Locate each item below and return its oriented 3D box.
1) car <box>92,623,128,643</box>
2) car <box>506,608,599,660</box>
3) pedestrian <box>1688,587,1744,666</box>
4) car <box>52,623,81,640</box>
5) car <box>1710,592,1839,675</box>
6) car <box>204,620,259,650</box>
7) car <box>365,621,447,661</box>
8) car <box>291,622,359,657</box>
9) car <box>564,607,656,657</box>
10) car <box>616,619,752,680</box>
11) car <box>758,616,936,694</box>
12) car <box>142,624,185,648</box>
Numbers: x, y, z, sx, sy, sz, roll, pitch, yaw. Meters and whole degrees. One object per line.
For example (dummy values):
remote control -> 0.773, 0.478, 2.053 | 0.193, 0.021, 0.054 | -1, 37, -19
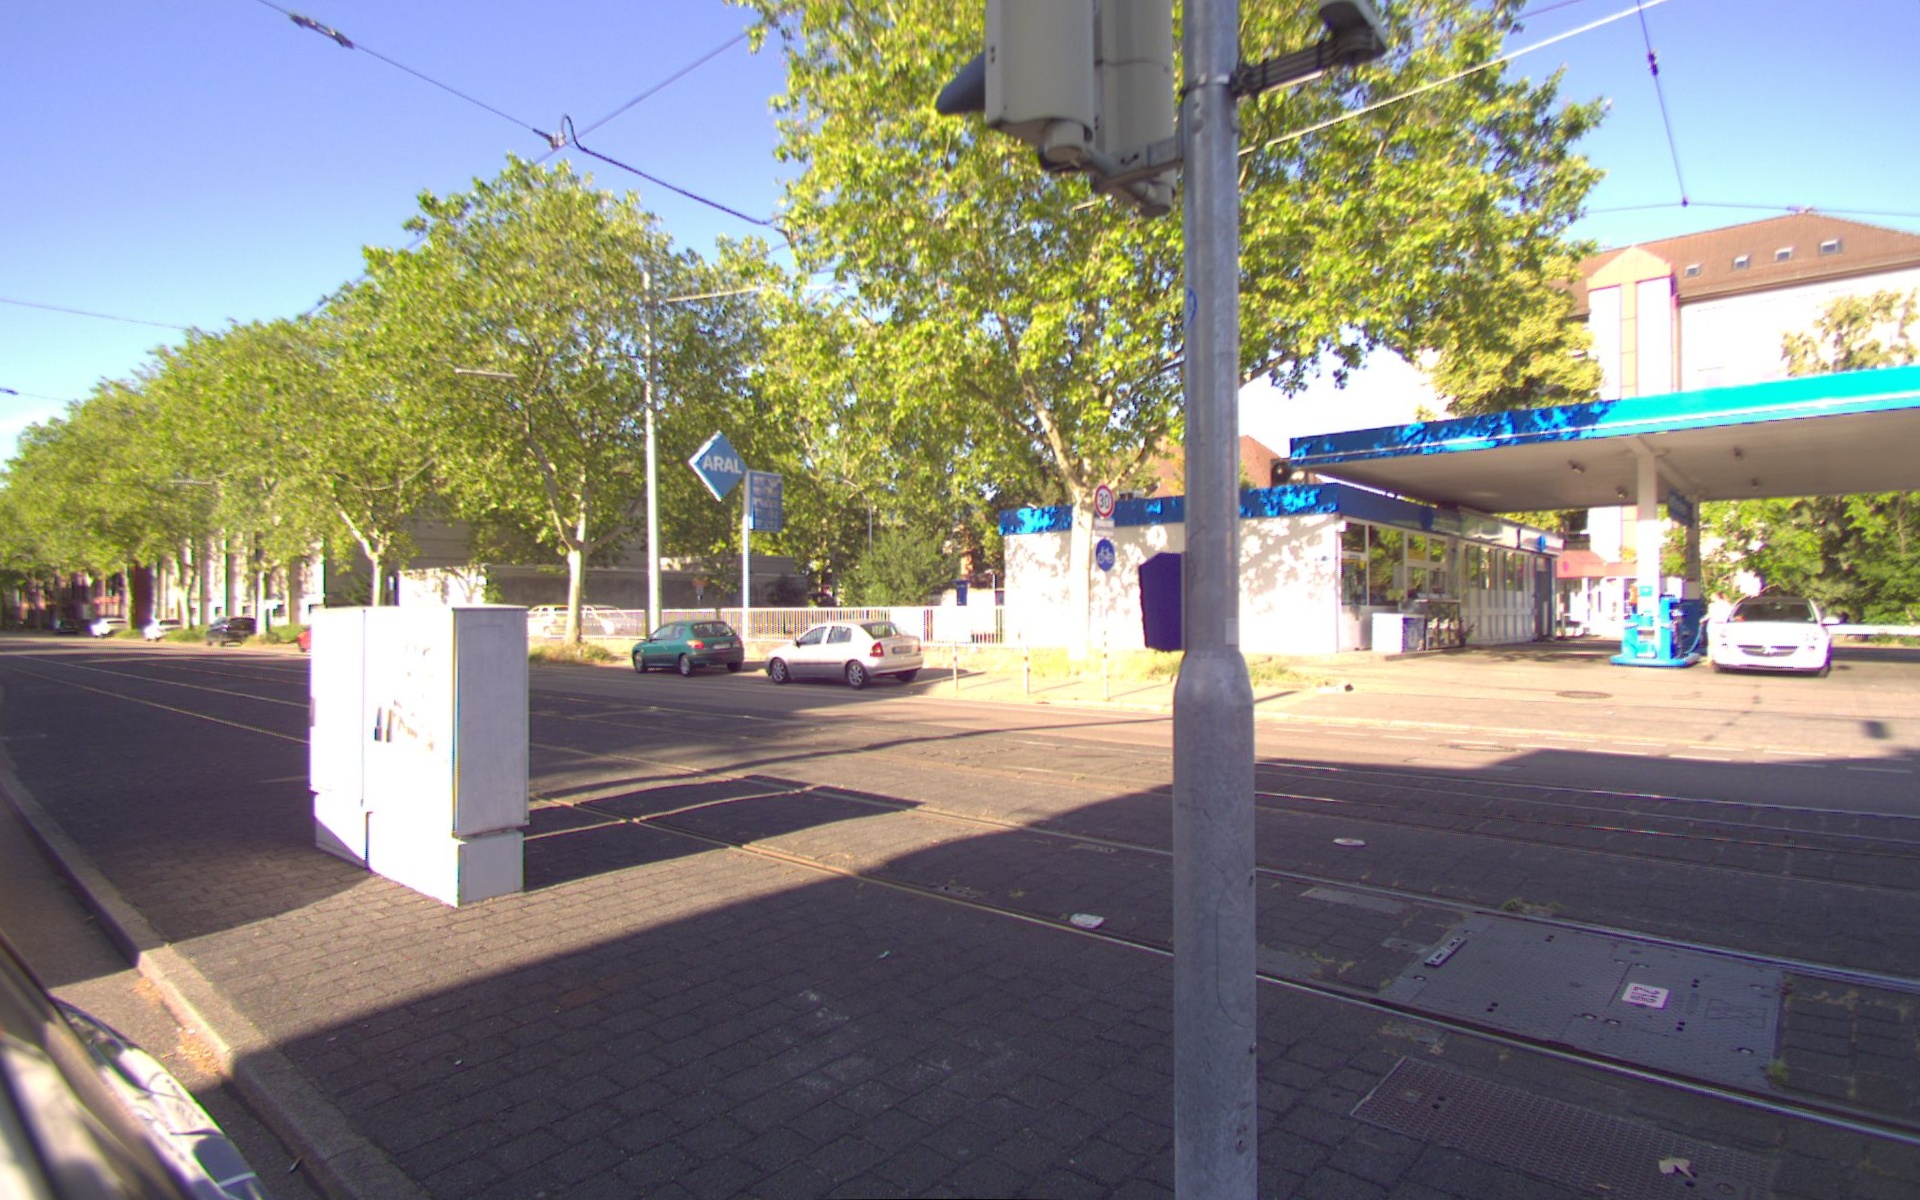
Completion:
car -> -66.923, 2.578, 79.642 | 3.858, 1.495, 1.735 | -1, 0, 43
car -> -17.041, 1.394, 42.264 | 3.996, 2.029, 1.974 | -1, -1, 39
pedestrian -> 16.145, 0.556, 21.622 | 0.799, 1.642, 0.649 | 0, -1, -26
car -> -84.869, 3.010, 96.117 | 3.858, 1.495, 1.735 | -1, 0, 43
car -> 15.945, 0.615, 19.784 | 1.793, 1.453, 3.946 | -1, -1, 40
car -> -40.672, 1.955, 56.487 | 3.858, 1.557, 1.735 | -1, 0, 43
car -> -21.981, 1.588, 40.092 | 3.858, 1.468, 1.735 | -1, 0, 43
car -> -28.908, 1.774, 46.046 | 3.858, 1.440, 1.695 | -1, 0, 43
car -> -15.142, 1.364, 43.691 | 3.996, 2.029, 1.974 | -1, -1, 39
car -> -7.429, 1.275, 27.077 | 3.858, 1.408, 1.722 | -1, 1, 43
car -> -2.569, 1.168, 22.597 | 3.857, 1.497, 1.823 | -1, 1, 42
car -> -53.635, 2.398, 68.122 | 3.858, 1.495, 1.735 | -1, 0, 43
